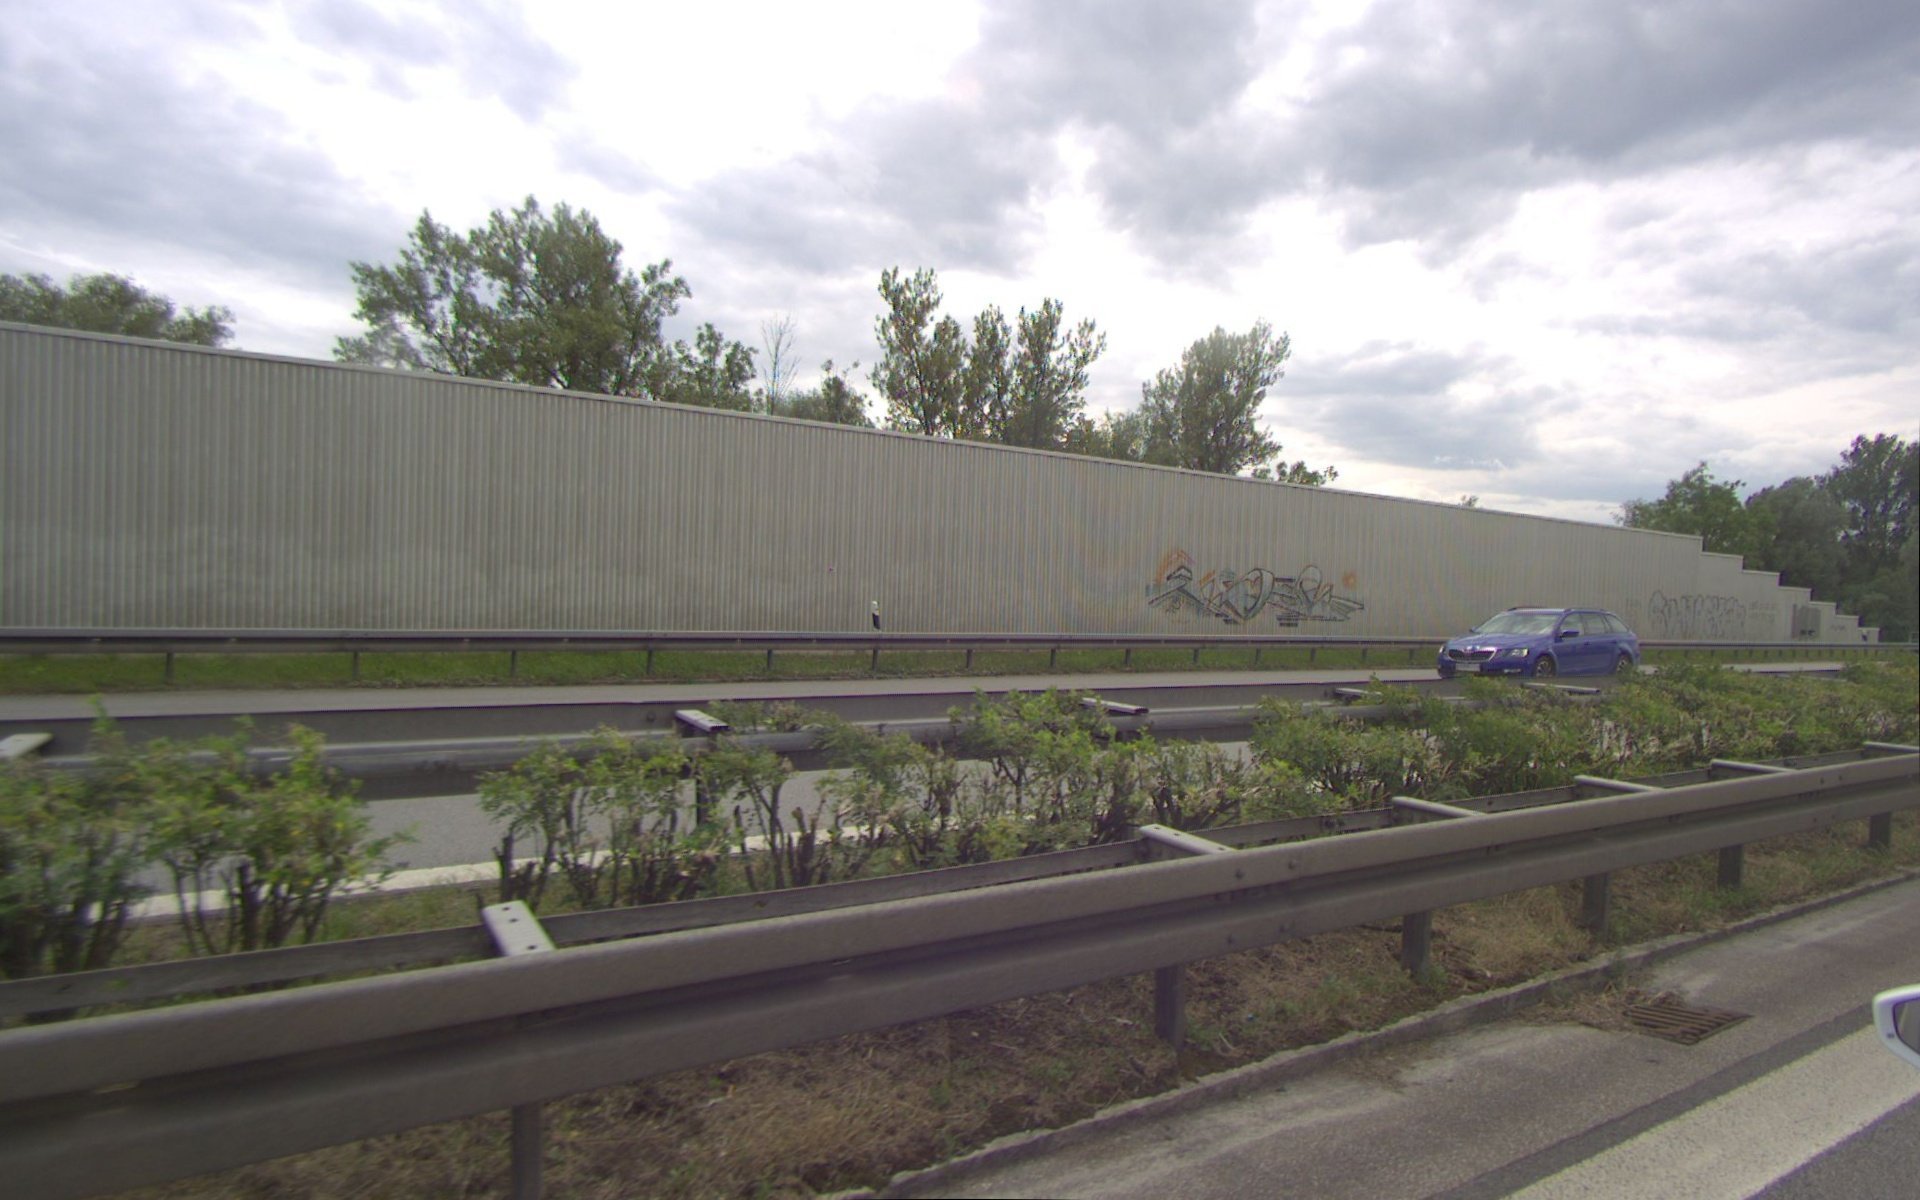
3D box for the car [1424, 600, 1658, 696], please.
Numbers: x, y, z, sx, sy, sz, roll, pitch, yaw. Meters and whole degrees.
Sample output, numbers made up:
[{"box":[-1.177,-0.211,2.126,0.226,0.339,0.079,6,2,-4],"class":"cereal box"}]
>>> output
[{"box":[10.700,0.839,18.422,4.464,1.567,1.802,1,-1,-31],"class":"car"}]
